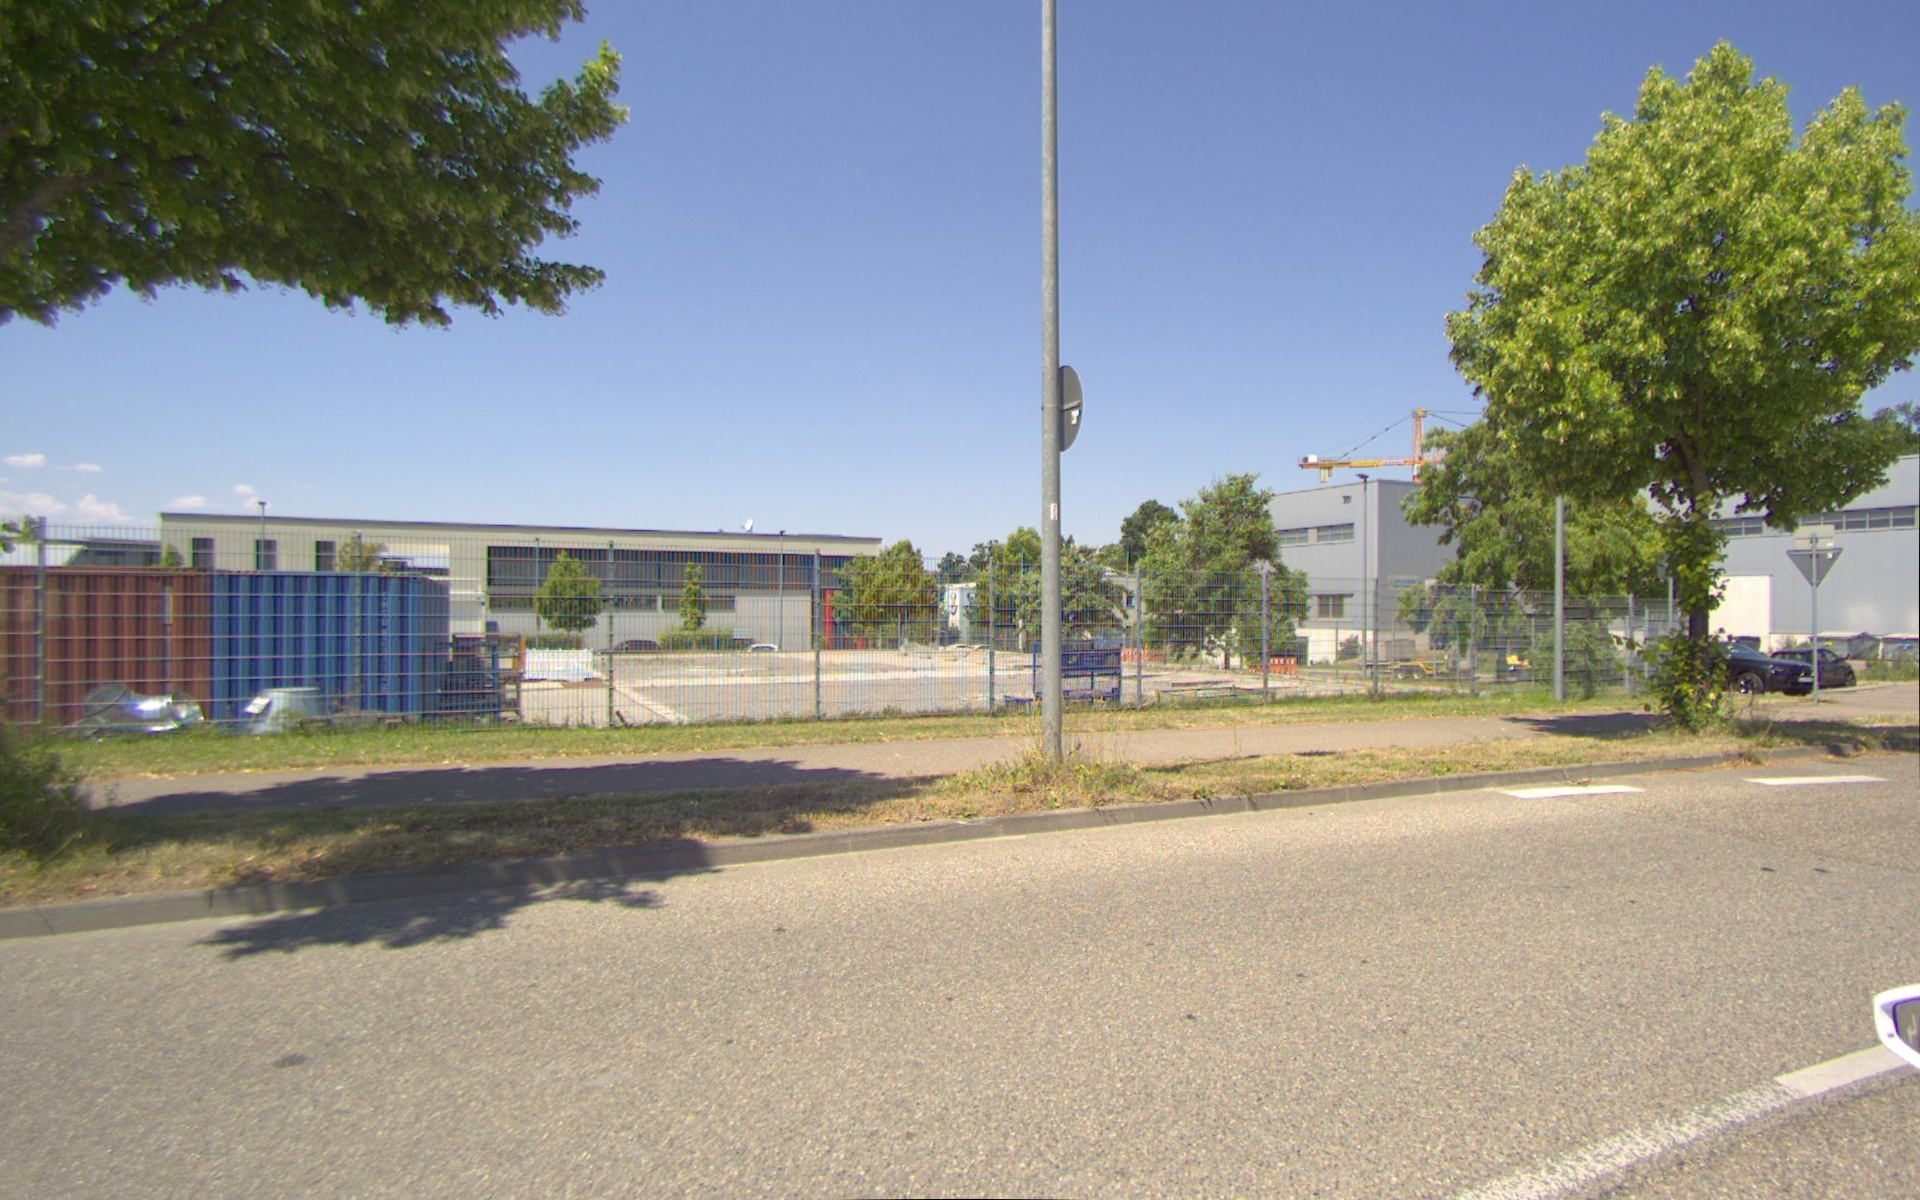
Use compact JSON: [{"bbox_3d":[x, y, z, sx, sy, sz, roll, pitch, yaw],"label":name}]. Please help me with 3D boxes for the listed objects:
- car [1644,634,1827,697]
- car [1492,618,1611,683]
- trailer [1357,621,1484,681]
[{"bbox_3d":[22.809,1.877,29.826,1.833,1.656,4.600,2,-2,-1],"label":"car"},{"bbox_3d":[27.068,2.248,45.893,5.725,2.769,1.986,0,-1,-28],"label":"car"},{"bbox_3d":[23.988,2.636,52.568,2.633,2.895,5.478,-1,-2,-30],"label":"trailer"}]
